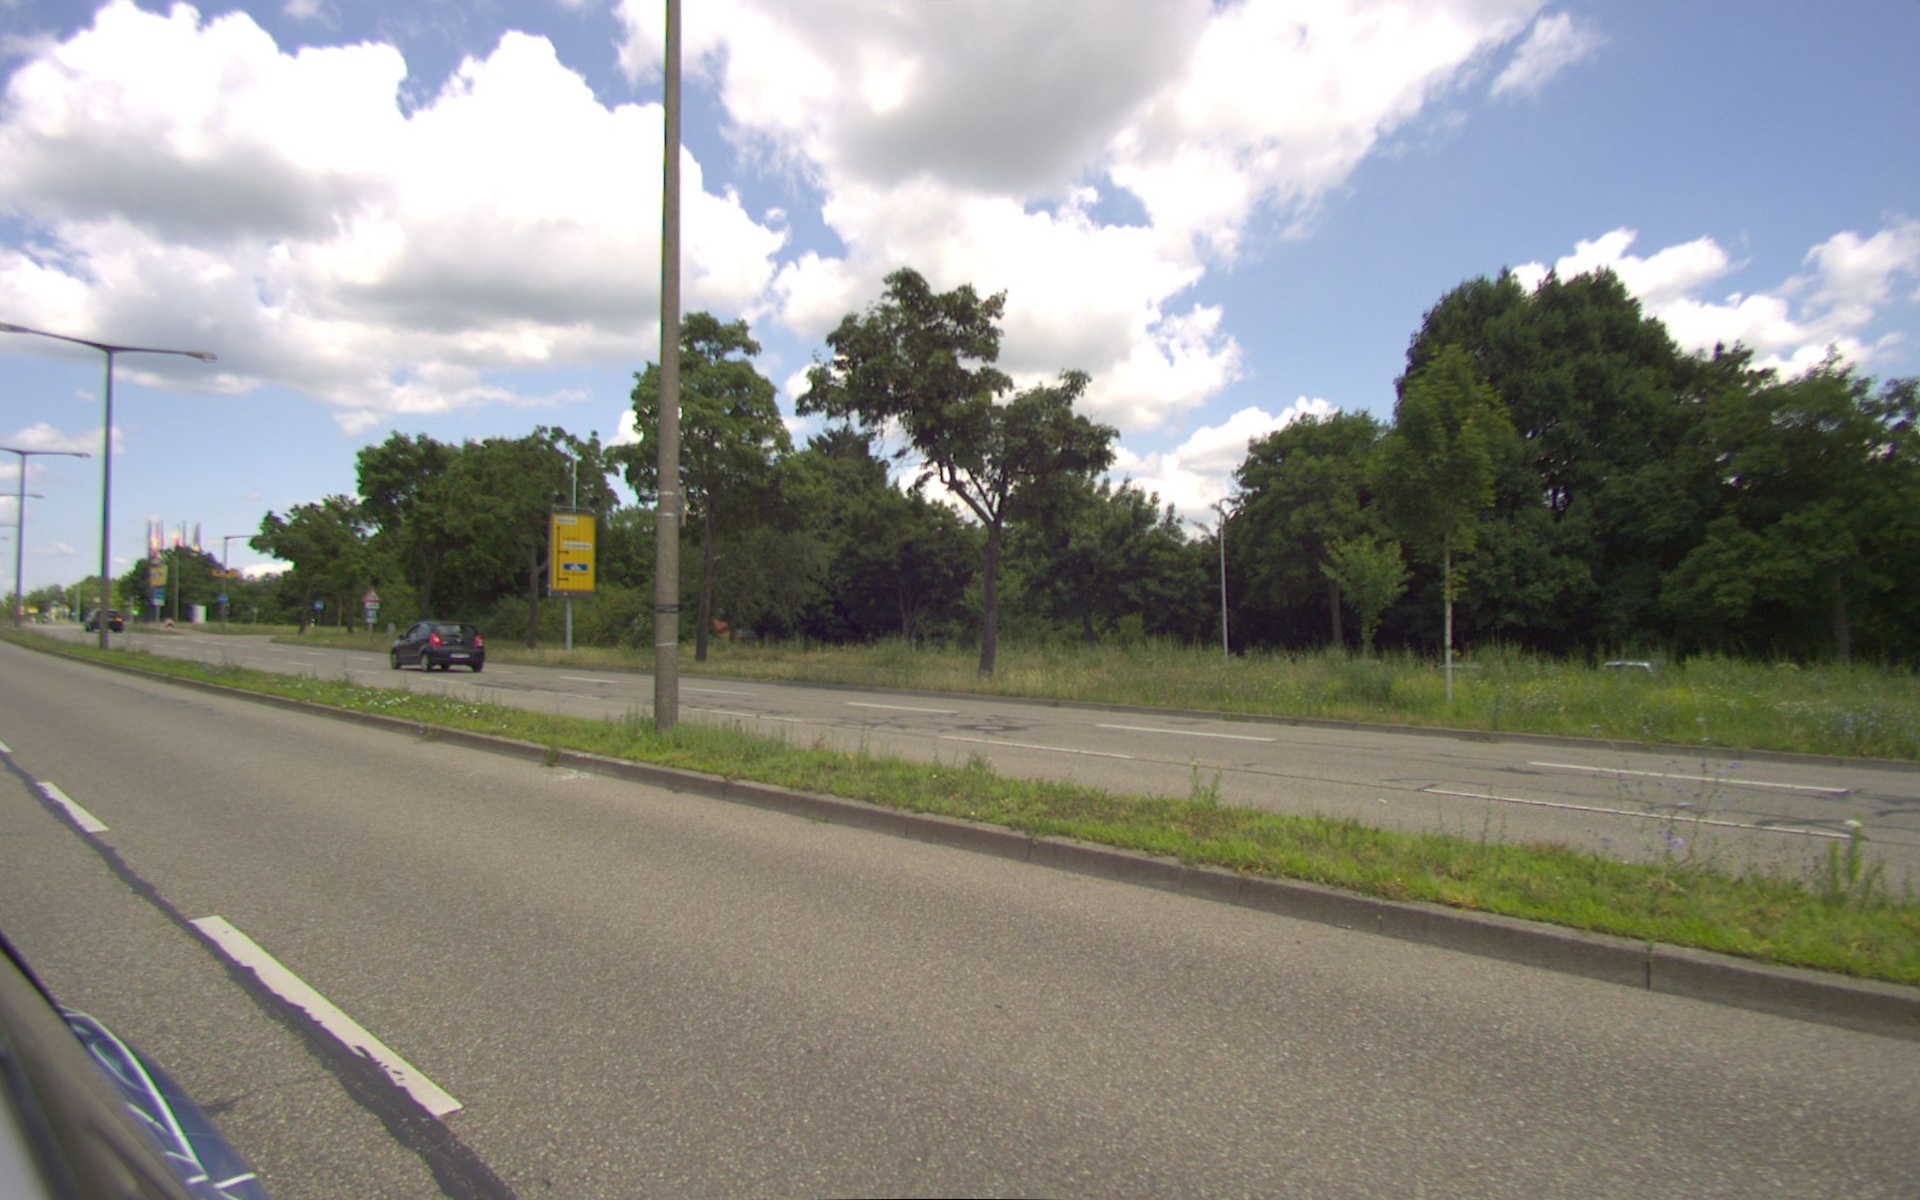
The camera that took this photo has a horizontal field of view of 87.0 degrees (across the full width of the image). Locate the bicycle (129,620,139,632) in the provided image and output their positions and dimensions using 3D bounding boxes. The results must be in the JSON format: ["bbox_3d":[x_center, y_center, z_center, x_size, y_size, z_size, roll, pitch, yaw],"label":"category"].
[{"bbox_3d":[-80.515,2.534,98.610,1.907,1.076,0.427,-3,-2,41],"label":"bicycle"}]

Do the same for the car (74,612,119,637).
[{"bbox_3d":[-64.585,1.823,75.667,4.727,1.804,1.857,-1,-4,42],"label":"car"}]

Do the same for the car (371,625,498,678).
[{"bbox_3d":[-15.434,1.472,29.681,3.663,1.438,1.688,0,-2,32],"label":"car"}]

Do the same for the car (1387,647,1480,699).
[{"bbox_3d":[16.131,2.440,34.399,1.997,1.530,3.948,-2,-2,38],"label":"car"}]

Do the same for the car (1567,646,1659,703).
[{"bbox_3d":[20.407,2.272,31.568,1.997,1.530,3.948,-2,-2,38],"label":"car"}]

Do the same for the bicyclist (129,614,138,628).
[{"bbox_3d":[-80.502,2.047,98.559,1.106,1.282,0.515,-3,-2,41],"label":"bicyclist"}]
